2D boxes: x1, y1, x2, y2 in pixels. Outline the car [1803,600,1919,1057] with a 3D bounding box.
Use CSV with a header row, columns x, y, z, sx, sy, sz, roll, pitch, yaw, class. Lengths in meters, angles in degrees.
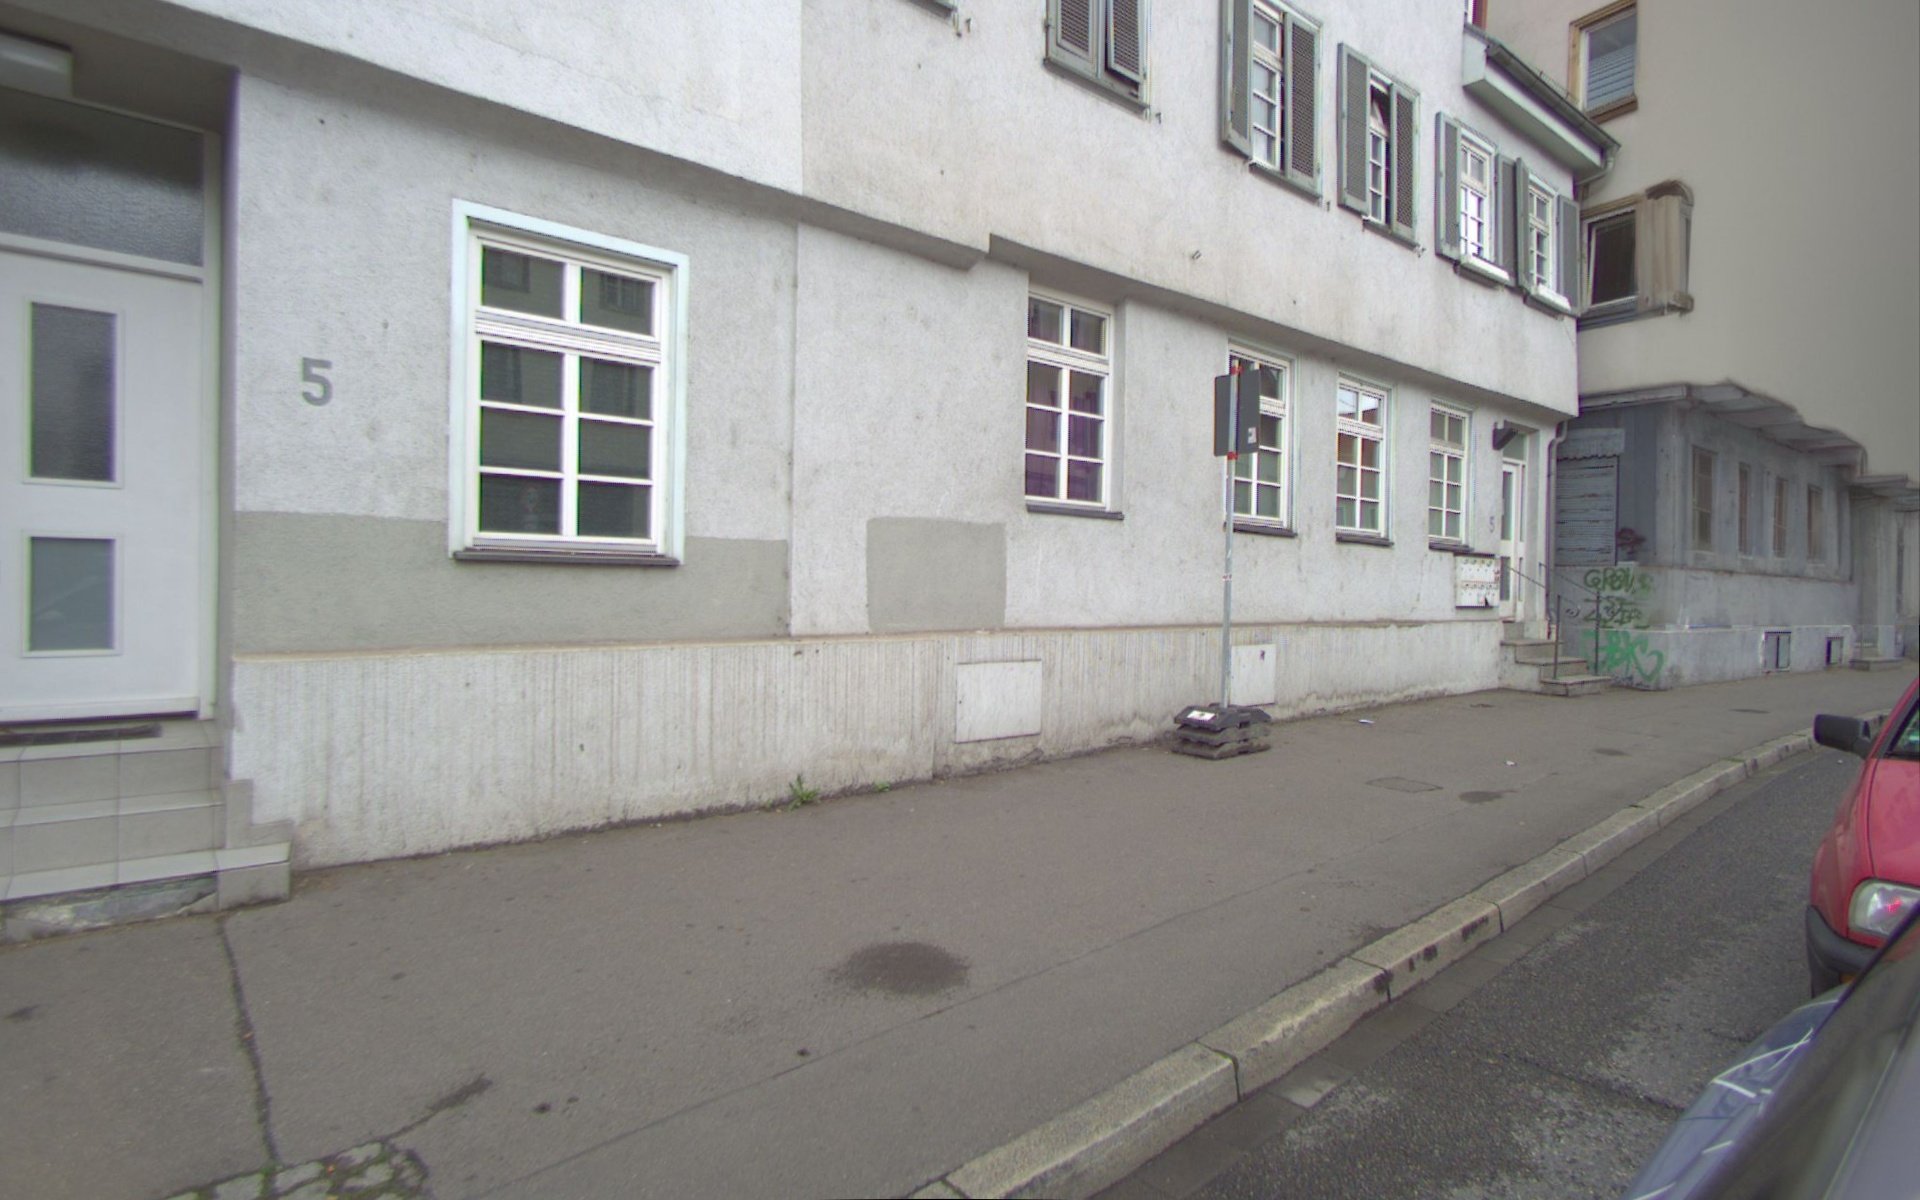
x,y,z,sx,sy,sz,roll,pitch,yaw,class
5.012,0.740,4.108,3.930,1.485,1.802,0,-2,-41,car
